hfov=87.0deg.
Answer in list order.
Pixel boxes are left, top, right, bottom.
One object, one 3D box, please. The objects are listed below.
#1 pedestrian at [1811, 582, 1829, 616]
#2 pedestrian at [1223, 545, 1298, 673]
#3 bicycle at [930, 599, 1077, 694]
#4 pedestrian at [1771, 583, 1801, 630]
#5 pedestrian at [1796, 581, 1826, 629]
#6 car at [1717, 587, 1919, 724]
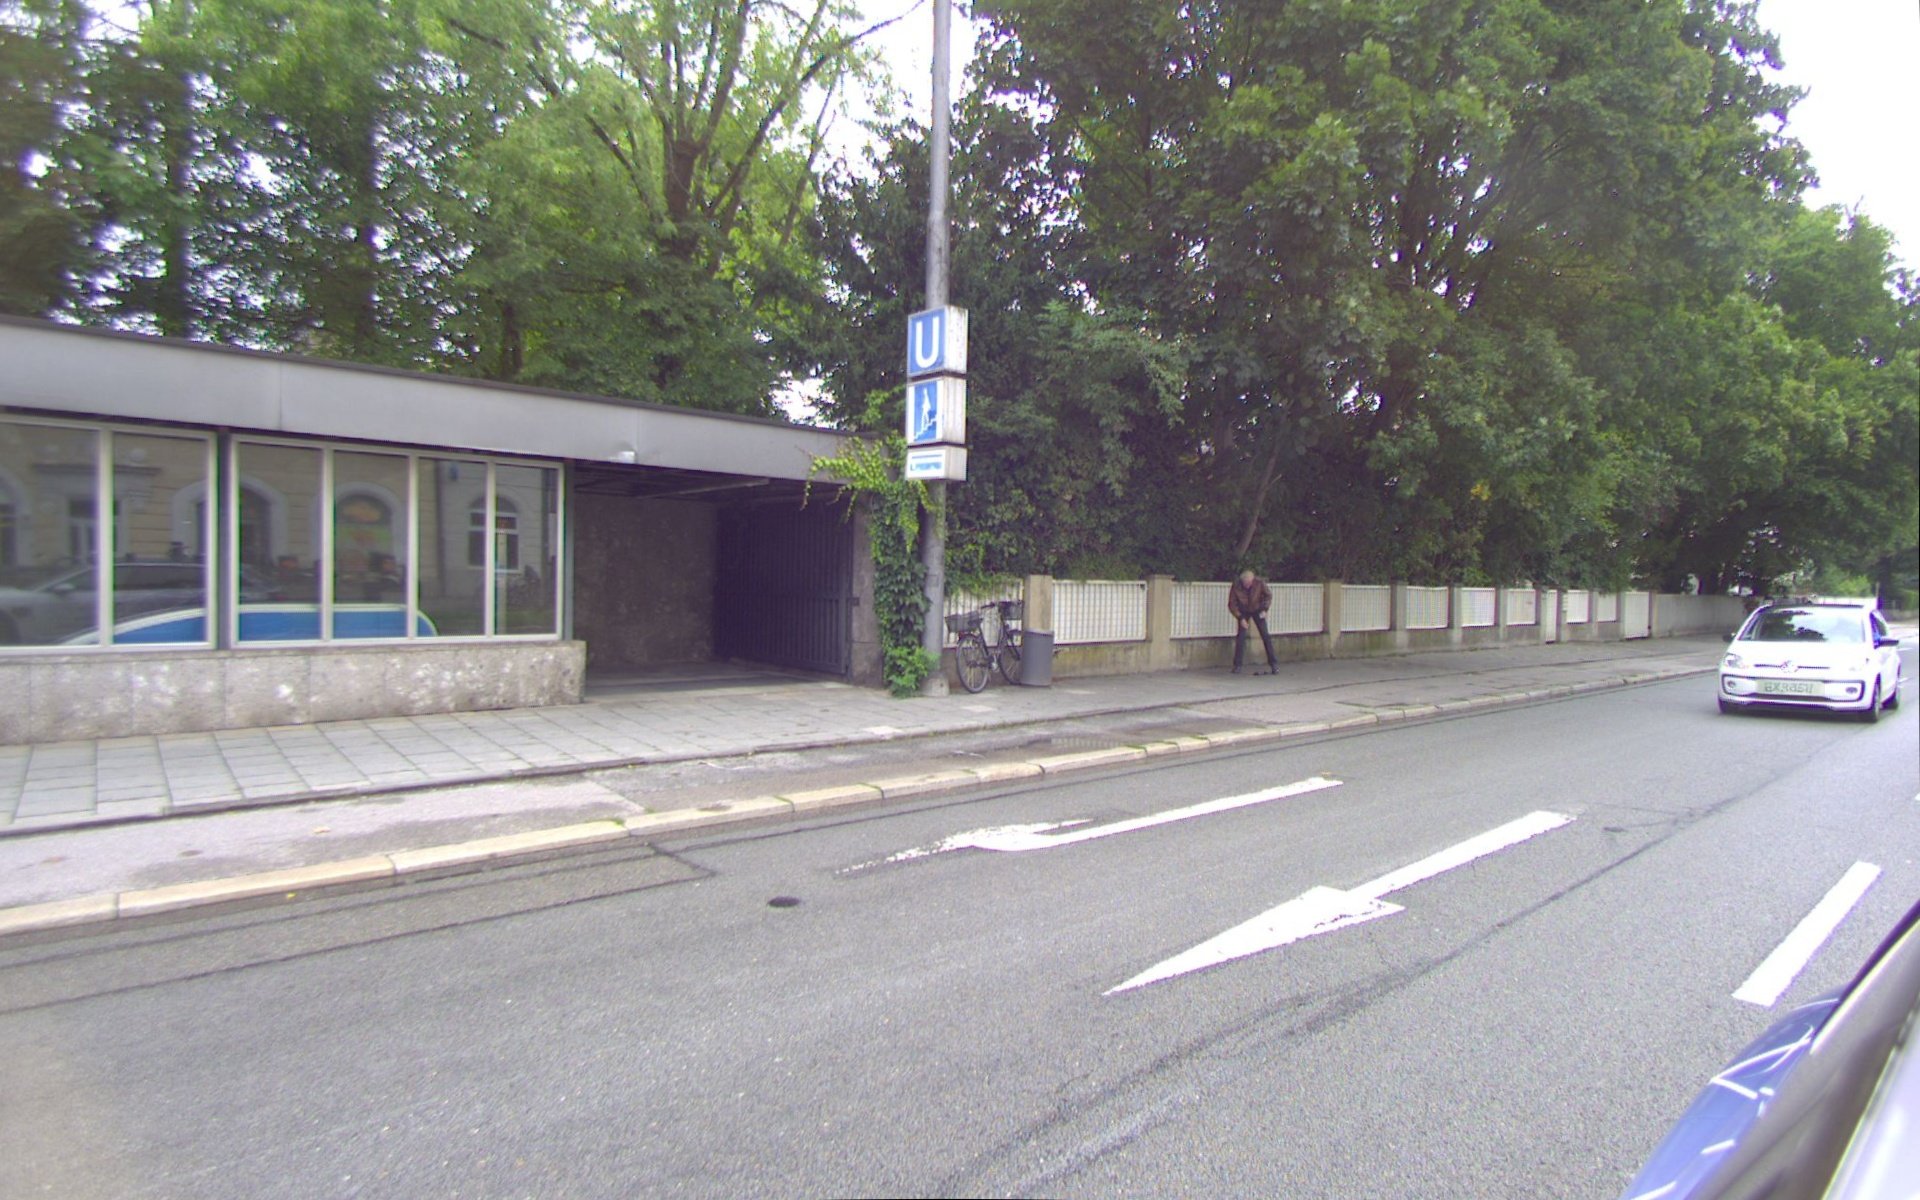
[{"bbox_3d":[42.253,-0.051,49.729,0.716,1.600,0.529,0,3,-42],"label":"pedestrian"},{"bbox_3d":[4.778,0.122,16.107,0.788,1.966,0.779,0,2,-40],"label":"pedestrian"},{"bbox_3d":[0.583,0.548,12.894,1.991,1.104,0.623,0,1,-41],"label":"bicycle"},{"bbox_3d":[30.969,0.238,37.941,0.753,1.726,0.667,0,3,-42],"label":"pedestrian"},{"bbox_3d":[31.480,0.173,37.437,0.716,1.713,0.667,0,3,-42],"label":"pedestrian"},{"bbox_3d":[11.720,0.643,13.731,3.524,1.581,1.645,0,1,-42],"label":"car"}]
